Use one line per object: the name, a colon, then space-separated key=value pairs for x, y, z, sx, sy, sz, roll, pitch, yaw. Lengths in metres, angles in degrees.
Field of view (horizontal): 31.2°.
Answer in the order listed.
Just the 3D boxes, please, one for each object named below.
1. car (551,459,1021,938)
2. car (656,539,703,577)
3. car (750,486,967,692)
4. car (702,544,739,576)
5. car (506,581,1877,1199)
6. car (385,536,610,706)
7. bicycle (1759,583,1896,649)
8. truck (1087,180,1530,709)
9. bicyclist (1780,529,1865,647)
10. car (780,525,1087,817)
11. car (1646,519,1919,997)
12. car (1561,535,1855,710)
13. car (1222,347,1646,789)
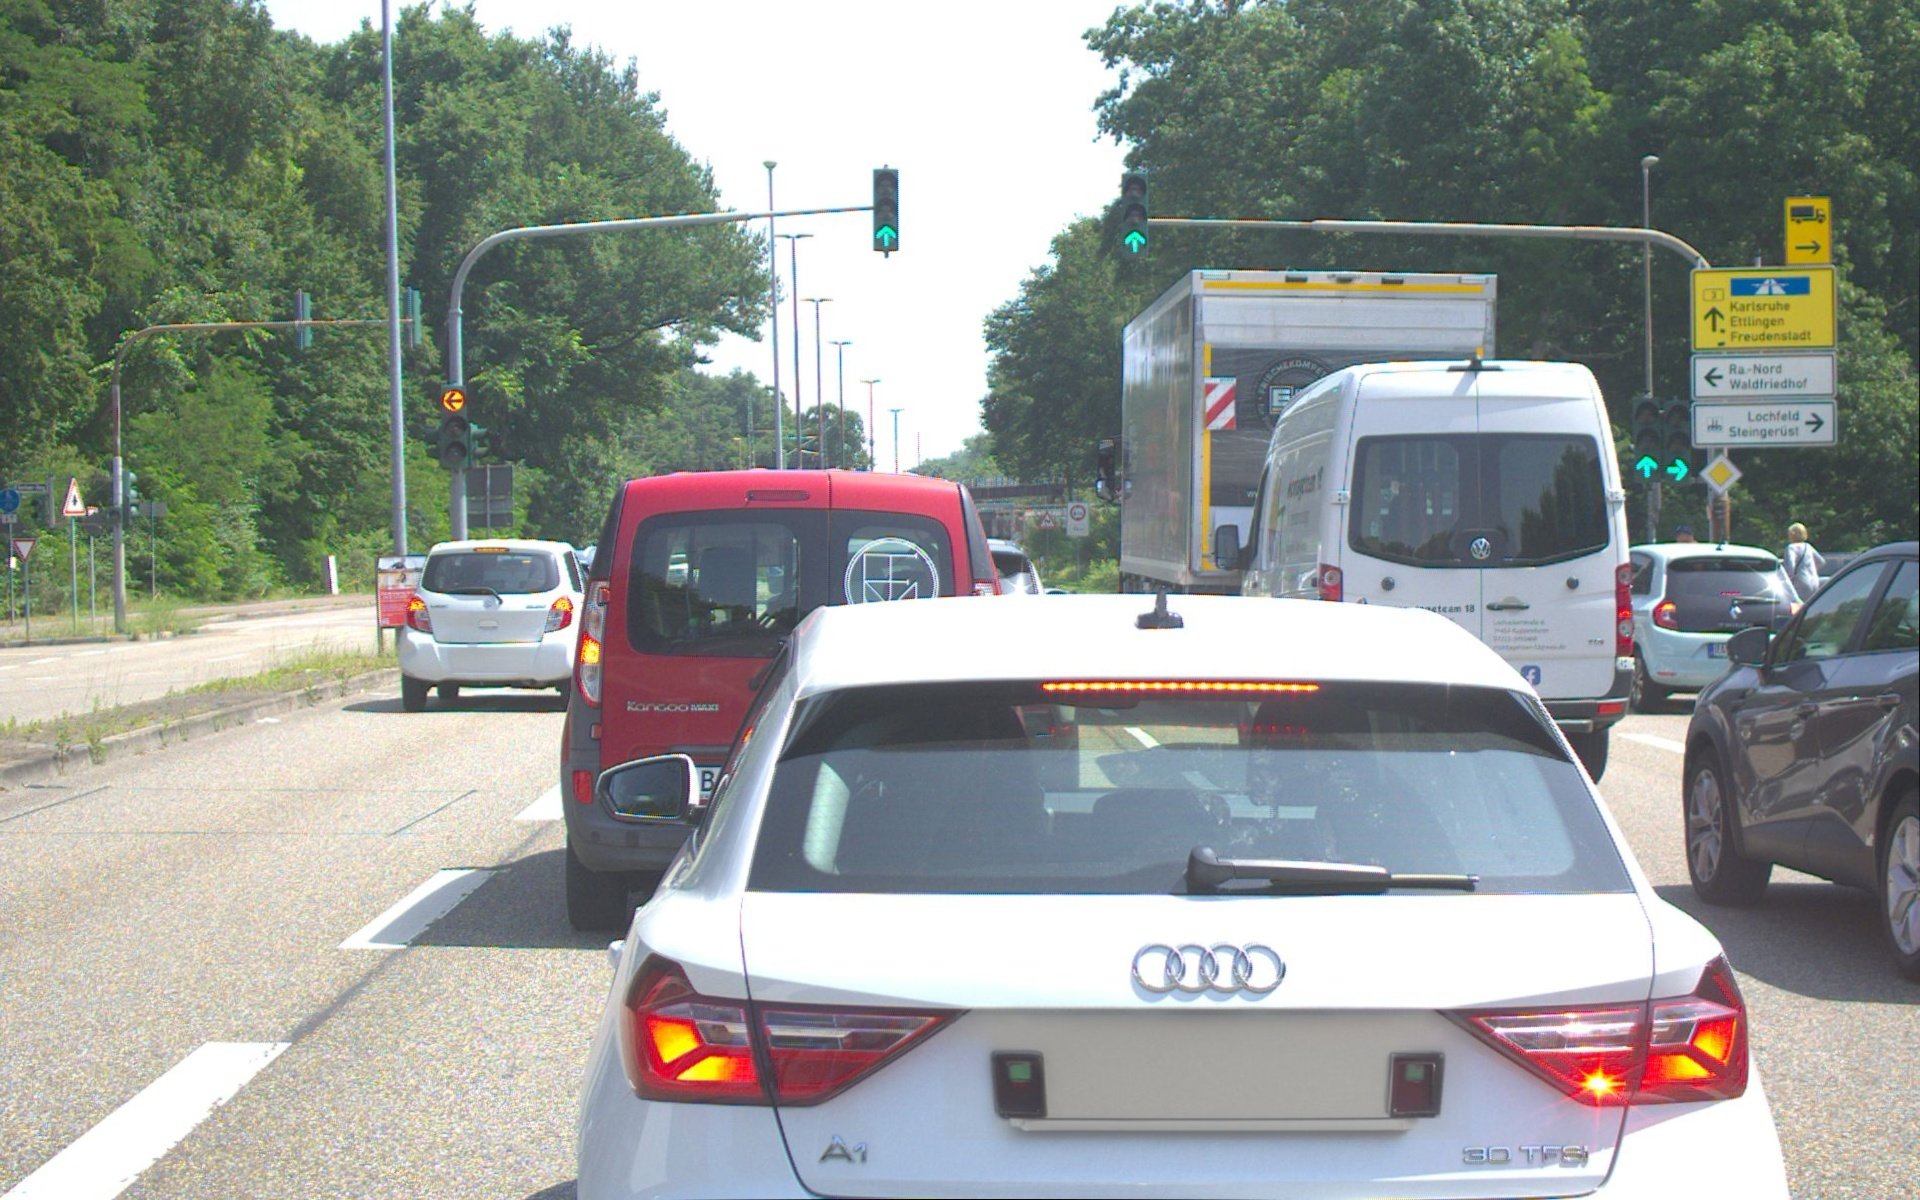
car: x=-0.717 y=0.321 z=14.591 sx=1.711 sy=1.742 sz=4.092 roll=0 pitch=1 yaw=-2
car: x=-13.502 y=-2.017 z=165.567 sx=1.993 sy=1.766 sz=4.205 roll=-1 pitch=1 yaw=-2
car: x=-0.883 y=-0.122 z=29.168 sx=1.711 sy=1.626 sz=4.092 roll=0 pitch=1 yaw=-2
car: x=-13.170 y=-2.198 z=189.191 sx=1.830 sy=1.722 sz=4.000 roll=-1 pitch=1 yaw=-1
car: x=0.209 y=0.683 z=6.331 sx=1.711 sy=1.381 sz=4.092 roll=0 pitch=1 yaw=-2
car: x=-4.246 y=0.148 z=32.076 sx=1.711 sy=1.487 sz=4.092 roll=0 pitch=1 yaw=-2
bicycle: x=10.778 y=0.191 z=42.697 sx=1.822 sy=0.763 sz=0.601 roll=-2 pitch=1 yaw=-35
truck: x=3.141 y=-1.414 z=34.679 sx=3.088 sy=4.418 sz=11.581 roll=0 pitch=1 yaw=-1
bicyclist: x=10.693 y=-0.158 z=42.619 sx=0.826 sy=1.434 sz=0.599 roll=-2 pitch=1 yaw=-36
car: x=-0.230 y=0.358 z=21.184 sx=1.711 sy=1.626 sz=4.092 roll=0 pitch=1 yaw=-2
car: x=3.974 y=0.492 z=13.176 sx=1.711 sy=1.587 sz=4.092 roll=0 pitch=1 yaw=-2
car: x=6.938 y=0.161 z=32.300 sx=1.711 sy=1.541 sz=4.092 roll=0 pitch=1 yaw=-2
car: x=3.022 y=-0.234 z=22.980 sx=2.031 sy=2.635 sz=4.846 roll=0 pitch=1 yaw=-2
